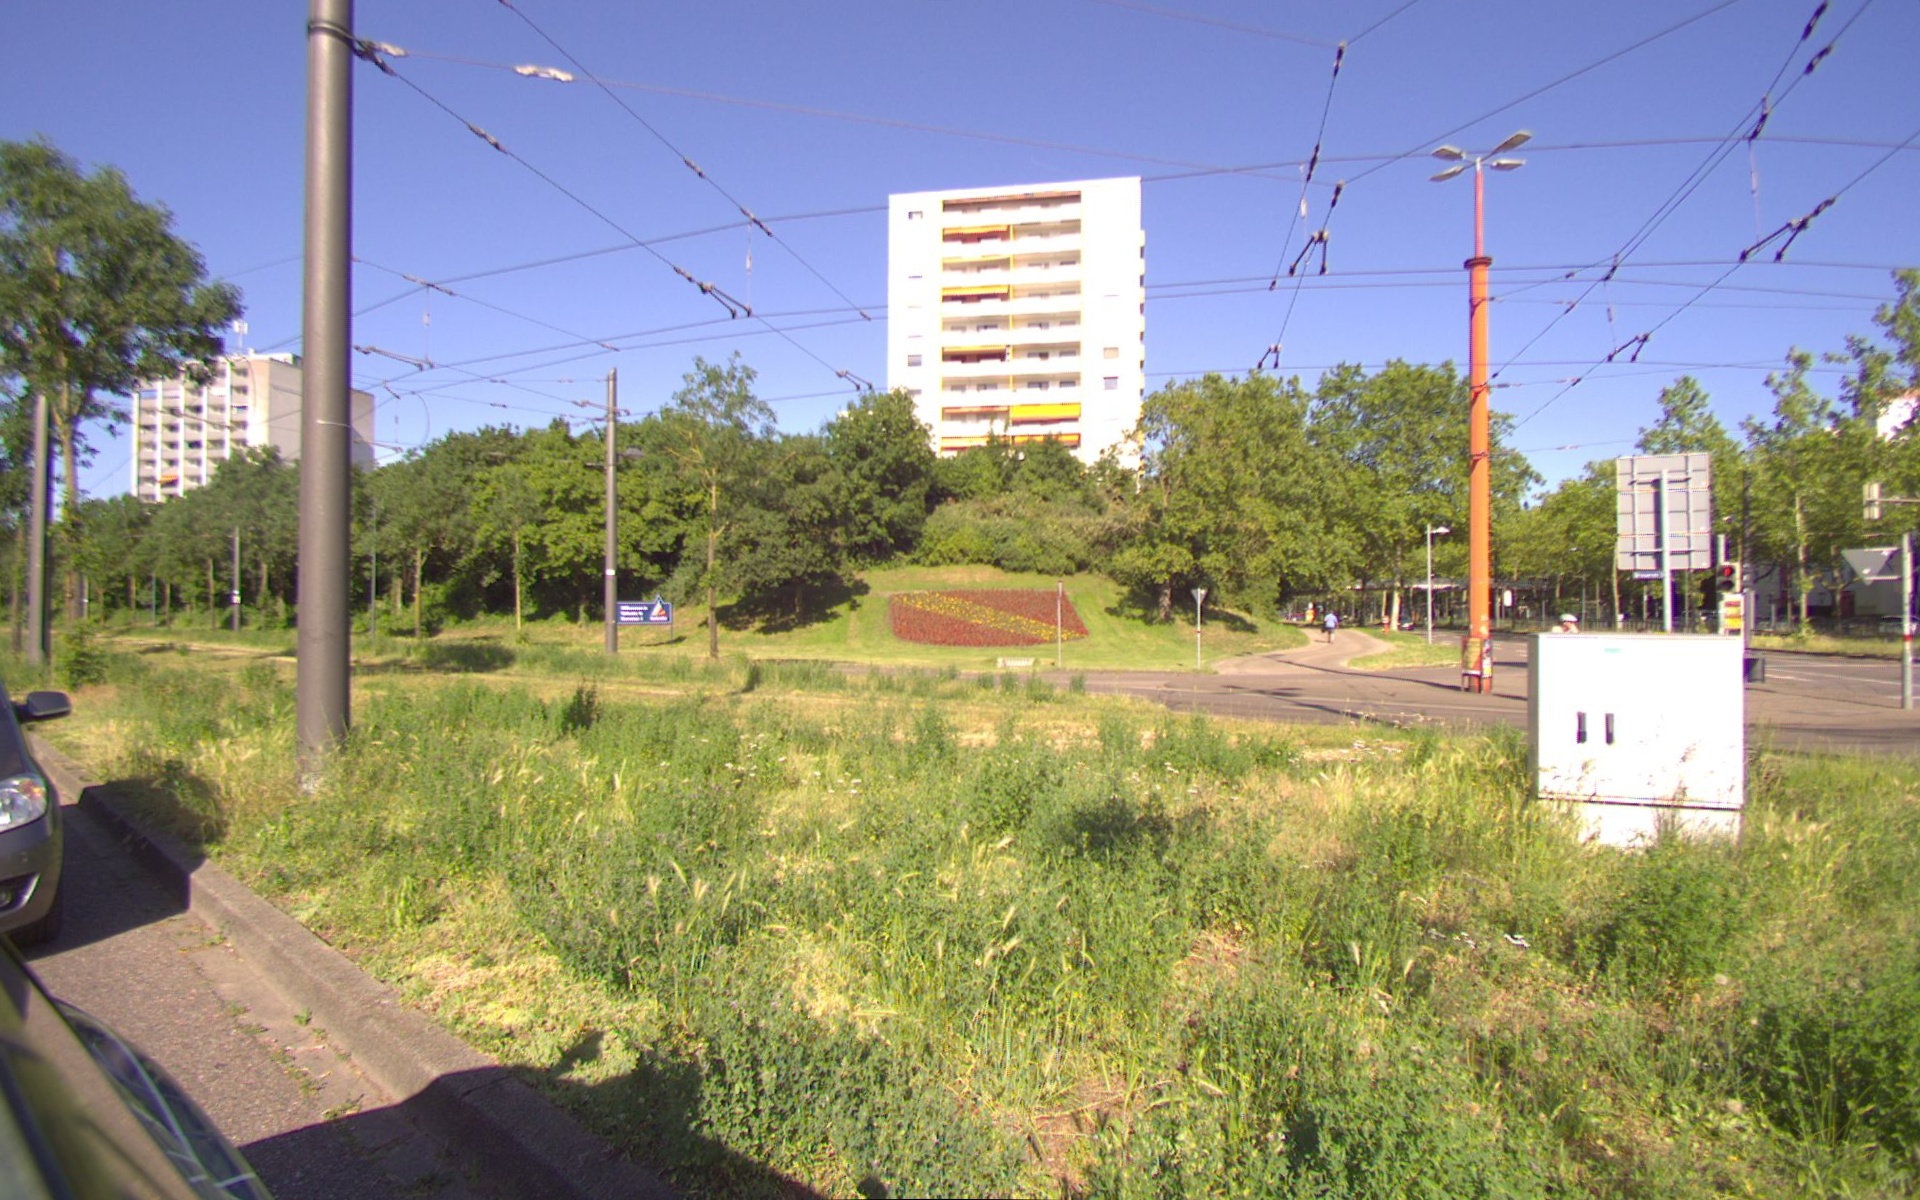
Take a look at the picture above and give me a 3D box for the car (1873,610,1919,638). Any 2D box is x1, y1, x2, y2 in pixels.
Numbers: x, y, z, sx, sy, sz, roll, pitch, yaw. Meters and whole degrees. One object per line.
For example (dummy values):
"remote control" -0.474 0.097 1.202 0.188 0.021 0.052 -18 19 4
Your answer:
"car" 65.245 1.647 69.866 3.931 1.829 2.006 1 -2 -27

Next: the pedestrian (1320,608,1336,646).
"pedestrian" 19.186 1.417 52.735 0.729 1.949 0.726 -1 -2 24

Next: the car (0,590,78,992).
"car" -5.942 0.796 5.040 4.382 1.619 1.754 -1 -2 41

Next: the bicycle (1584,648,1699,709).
"bicycle" 13.355 1.520 19.914 0.915 1.095 1.888 0 -1 -2

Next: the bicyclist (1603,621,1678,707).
"bicyclist" 13.351 1.240 19.881 0.920 1.650 0.741 0 -1 -1

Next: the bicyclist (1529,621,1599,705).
"bicyclist" 12.094 1.257 20.300 0.920 1.650 0.741 0 -1 -1

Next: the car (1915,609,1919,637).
"car" 64.402 1.509 65.903 3.931 1.829 2.006 1 -2 -27

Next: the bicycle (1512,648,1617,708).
"bicycle" 12.089 1.535 20.316 0.915 1.095 1.888 0 -1 -2

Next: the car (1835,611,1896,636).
"car" 66.012 1.703 73.762 3.931 1.829 2.006 1 -2 -27

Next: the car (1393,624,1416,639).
"car" 46.159 3.256 105.141 1.928 1.606 3.882 -1 -1 20
